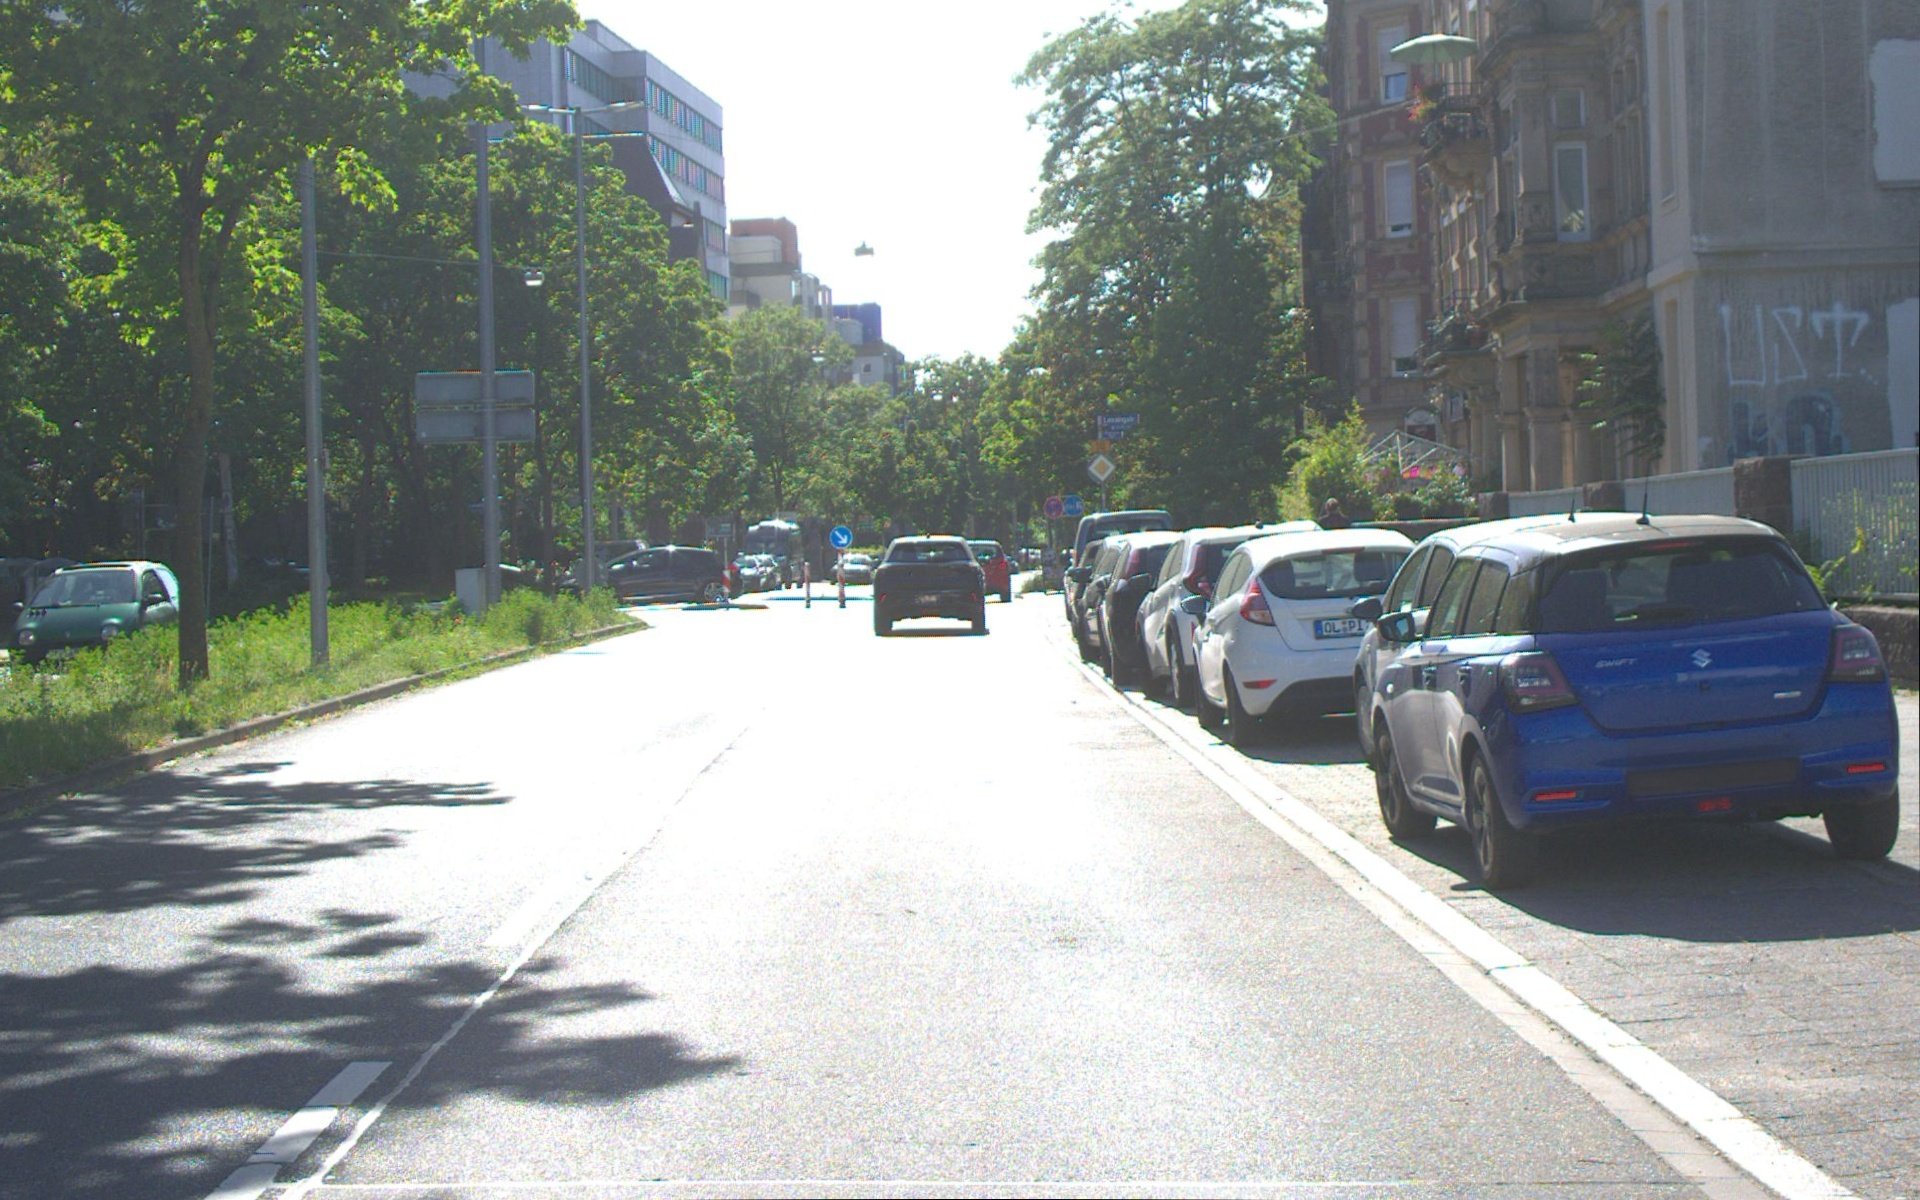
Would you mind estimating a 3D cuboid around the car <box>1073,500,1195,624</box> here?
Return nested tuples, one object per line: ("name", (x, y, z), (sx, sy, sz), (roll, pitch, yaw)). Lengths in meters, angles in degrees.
("car", (2.751, -0.643, 54.839), (1.819, 1.837, 4.364), (-2, 1, 2))

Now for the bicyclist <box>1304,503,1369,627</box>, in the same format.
("bicyclist", (4.900, -0.469, 44.795), (0.741, 1.574, 1.100), (-1, 2, 2))

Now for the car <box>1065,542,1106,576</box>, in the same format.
("car", (6.425, -2.089, 175.421), (1.920, 1.634, 4.000), (-2, 1, 4))

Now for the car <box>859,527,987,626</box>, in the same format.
("car", (-0.627, -0.398, 55.260), (1.894, 1.514, 4.001), (0, 1, -3))

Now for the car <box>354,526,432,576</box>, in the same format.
("car", (-19.876, -1.730, 120.418), (1.974, 1.656, 4.001), (-2, 1, -20))

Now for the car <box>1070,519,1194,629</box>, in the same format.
("car", (2.460, -0.412, 49.726), (1.668, 1.463, 4.274), (-2, 1, 2))

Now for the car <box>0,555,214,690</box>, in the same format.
("car", (-10.504, 0.239, 42.606), (1.638, 1.514, 4.259), (-2, 1, -1))

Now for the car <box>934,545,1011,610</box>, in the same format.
("car", (0.280, -0.535, 83.000), (1.792, 1.515, 3.849), (-1, 0, -1))

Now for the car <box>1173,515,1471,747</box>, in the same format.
("car", (2.579, 0.167, 25.222), (1.608, 1.441, 3.659), (-5, 2, -1))

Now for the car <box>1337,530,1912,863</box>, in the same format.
("car", (2.883, 0.347, 15.734), (1.668, 1.178, 3.901), (-5, 2, -2))

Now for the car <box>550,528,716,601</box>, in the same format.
("car", (-7.764, -0.835, 81.908), (3.849, 1.628, 1.620), (-1, -2, -2))

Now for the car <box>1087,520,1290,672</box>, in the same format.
("car", (2.255, -0.081, 34.786), (1.668, 1.389, 3.775), (-2, 1, -1))

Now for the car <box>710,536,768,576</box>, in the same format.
("car", (-8.304, -1.668, 129.562), (1.524, 1.427, 3.336), (-1, 1, 7))

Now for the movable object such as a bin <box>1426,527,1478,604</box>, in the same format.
("movable object such as a bin", (7.577, -0.522, 52.982), (0.722, 1.153, 0.608), (-1, -2, 2))

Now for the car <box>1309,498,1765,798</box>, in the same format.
("car", (3.276, 0.212, 20.274), (1.668, 1.455, 3.987), (-5, 2, -4))

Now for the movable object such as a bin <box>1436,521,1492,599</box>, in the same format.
("movable object such as a bin", (7.615, -0.599, 51.997), (0.759, 1.153, 0.608), (-1, -2, 2))

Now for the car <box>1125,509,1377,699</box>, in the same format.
("car", (2.510, -0.008, 30.426), (1.668, 1.514, 3.662), (-2, 1, -3))

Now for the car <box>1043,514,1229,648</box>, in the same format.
("car", (2.127, -0.277, 42.791), (1.935, 1.514, 4.484), (-2, 1, -1))
